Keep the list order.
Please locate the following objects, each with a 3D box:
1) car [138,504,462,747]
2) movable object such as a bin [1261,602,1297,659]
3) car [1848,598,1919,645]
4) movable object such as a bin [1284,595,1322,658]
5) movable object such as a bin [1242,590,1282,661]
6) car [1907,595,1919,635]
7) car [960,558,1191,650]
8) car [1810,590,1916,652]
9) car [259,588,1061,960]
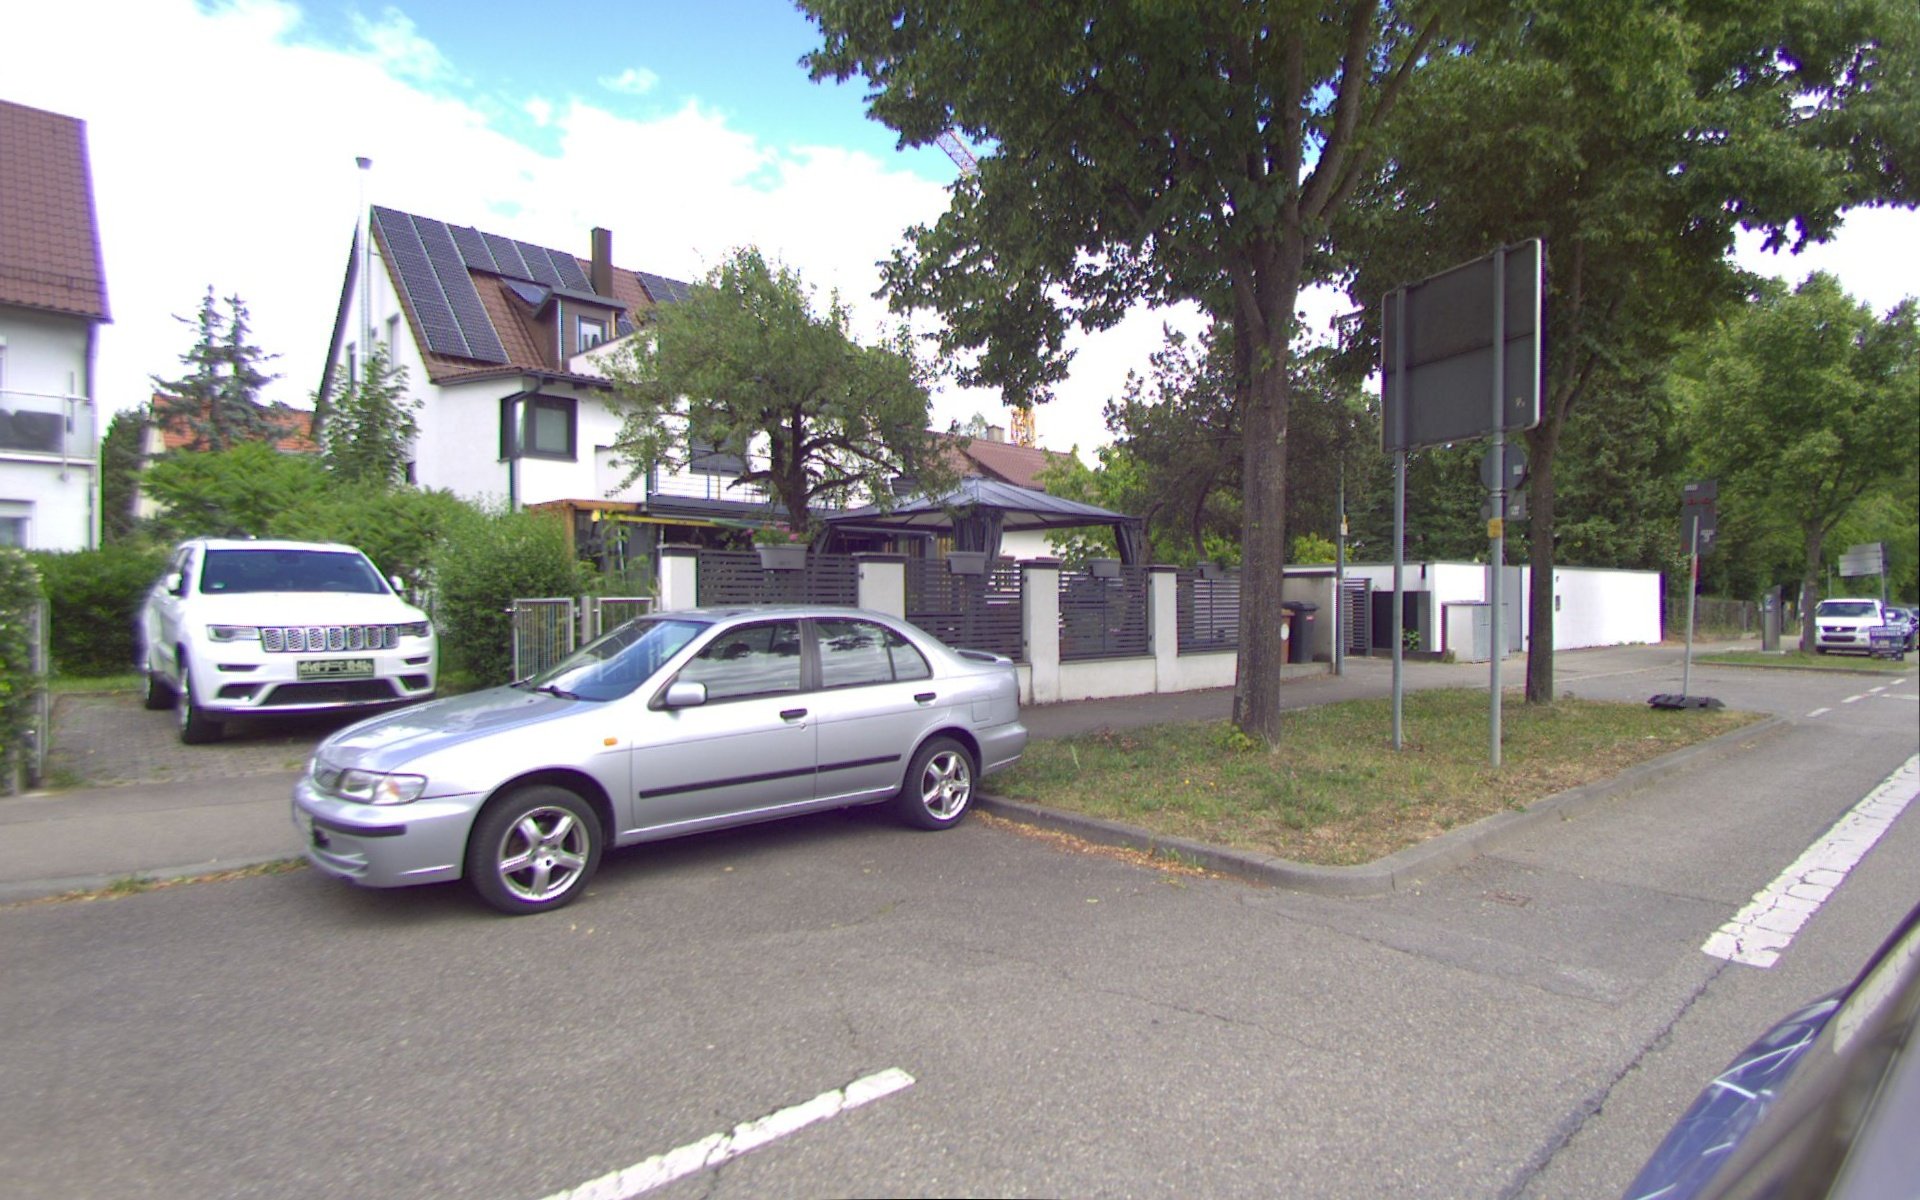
[{"bbox_3d":[-6.541,0.174,9.836,1.967,1.846,3.990,0,0,-43],"label":"car"},{"bbox_3d":[5.298,0.500,16.809,0.388,0.932,0.437,0,0,-40],"label":"movable object such as a bin"},{"bbox_3d":[30.958,0.670,33.345,4.519,1.435,1.867,0,0,-39],"label":"car"},{"bbox_3d":[5.793,0.439,17.095,0.446,1.035,0.437,0,0,-40],"label":"movable object such as a bin"},{"bbox_3d":[4.912,0.408,16.457,0.446,1.123,0.437,0,0,-40],"label":"movable object such as a bin"},{"bbox_3d":[40.821,0.580,41.876,4.604,1.631,1.864,-1,-1,-41],"label":"car"},{"bbox_3d":[2.602,0.063,23.693,5.179,1.927,2.018,0,1,42],"label":"car"},{"bbox_3d":[26.402,0.556,29.550,4.046,1.663,1.903,-1,1,-42],"label":"car"},{"bbox_3d":[-1.456,0.662,6.027,4.312,1.394,1.614,-2,1,-42],"label":"car"}]
